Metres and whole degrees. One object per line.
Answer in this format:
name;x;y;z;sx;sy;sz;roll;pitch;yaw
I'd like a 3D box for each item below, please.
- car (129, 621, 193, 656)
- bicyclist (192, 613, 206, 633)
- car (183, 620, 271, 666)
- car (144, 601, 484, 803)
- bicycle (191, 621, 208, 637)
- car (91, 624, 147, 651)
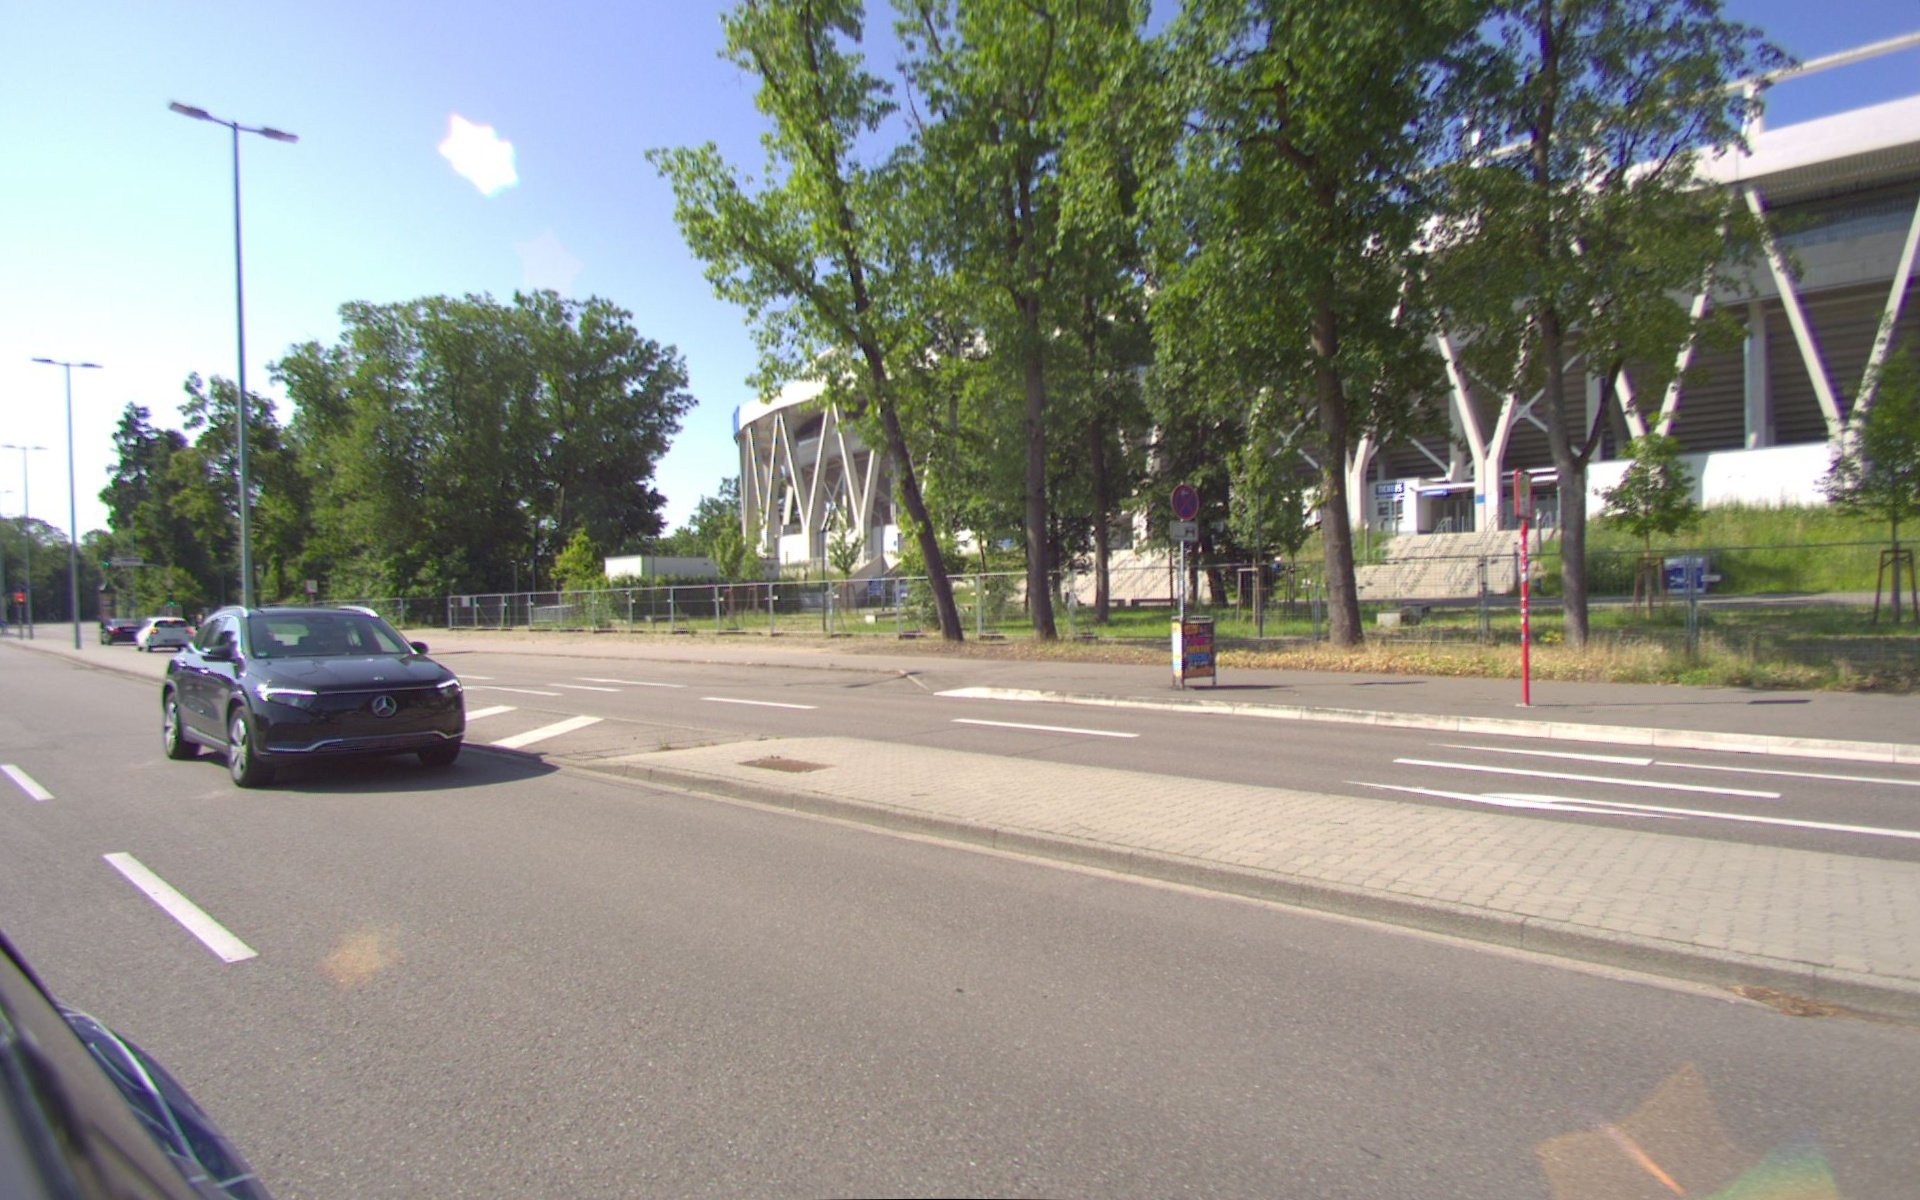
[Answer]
car;-35.123;1.662;44.480;3.800;1.478;1.605;-1;-2;42
bicyclist;-58.461;1.777;77.760;1.057;1.478;0.652;-2;1;43
car;-25.049;1.437;34.518;3.948;1.497;1.734;-1;-2;44
car;-6.634;0.868;10.199;4.271;1.608;1.785;-1;-2;42
bicycle;-58.523;2.229;77.861;1.878;1.144;0.652;-2;1;43
car;-45.678;2.027;54.955;4.161;1.398;1.791;-1;-2;43
